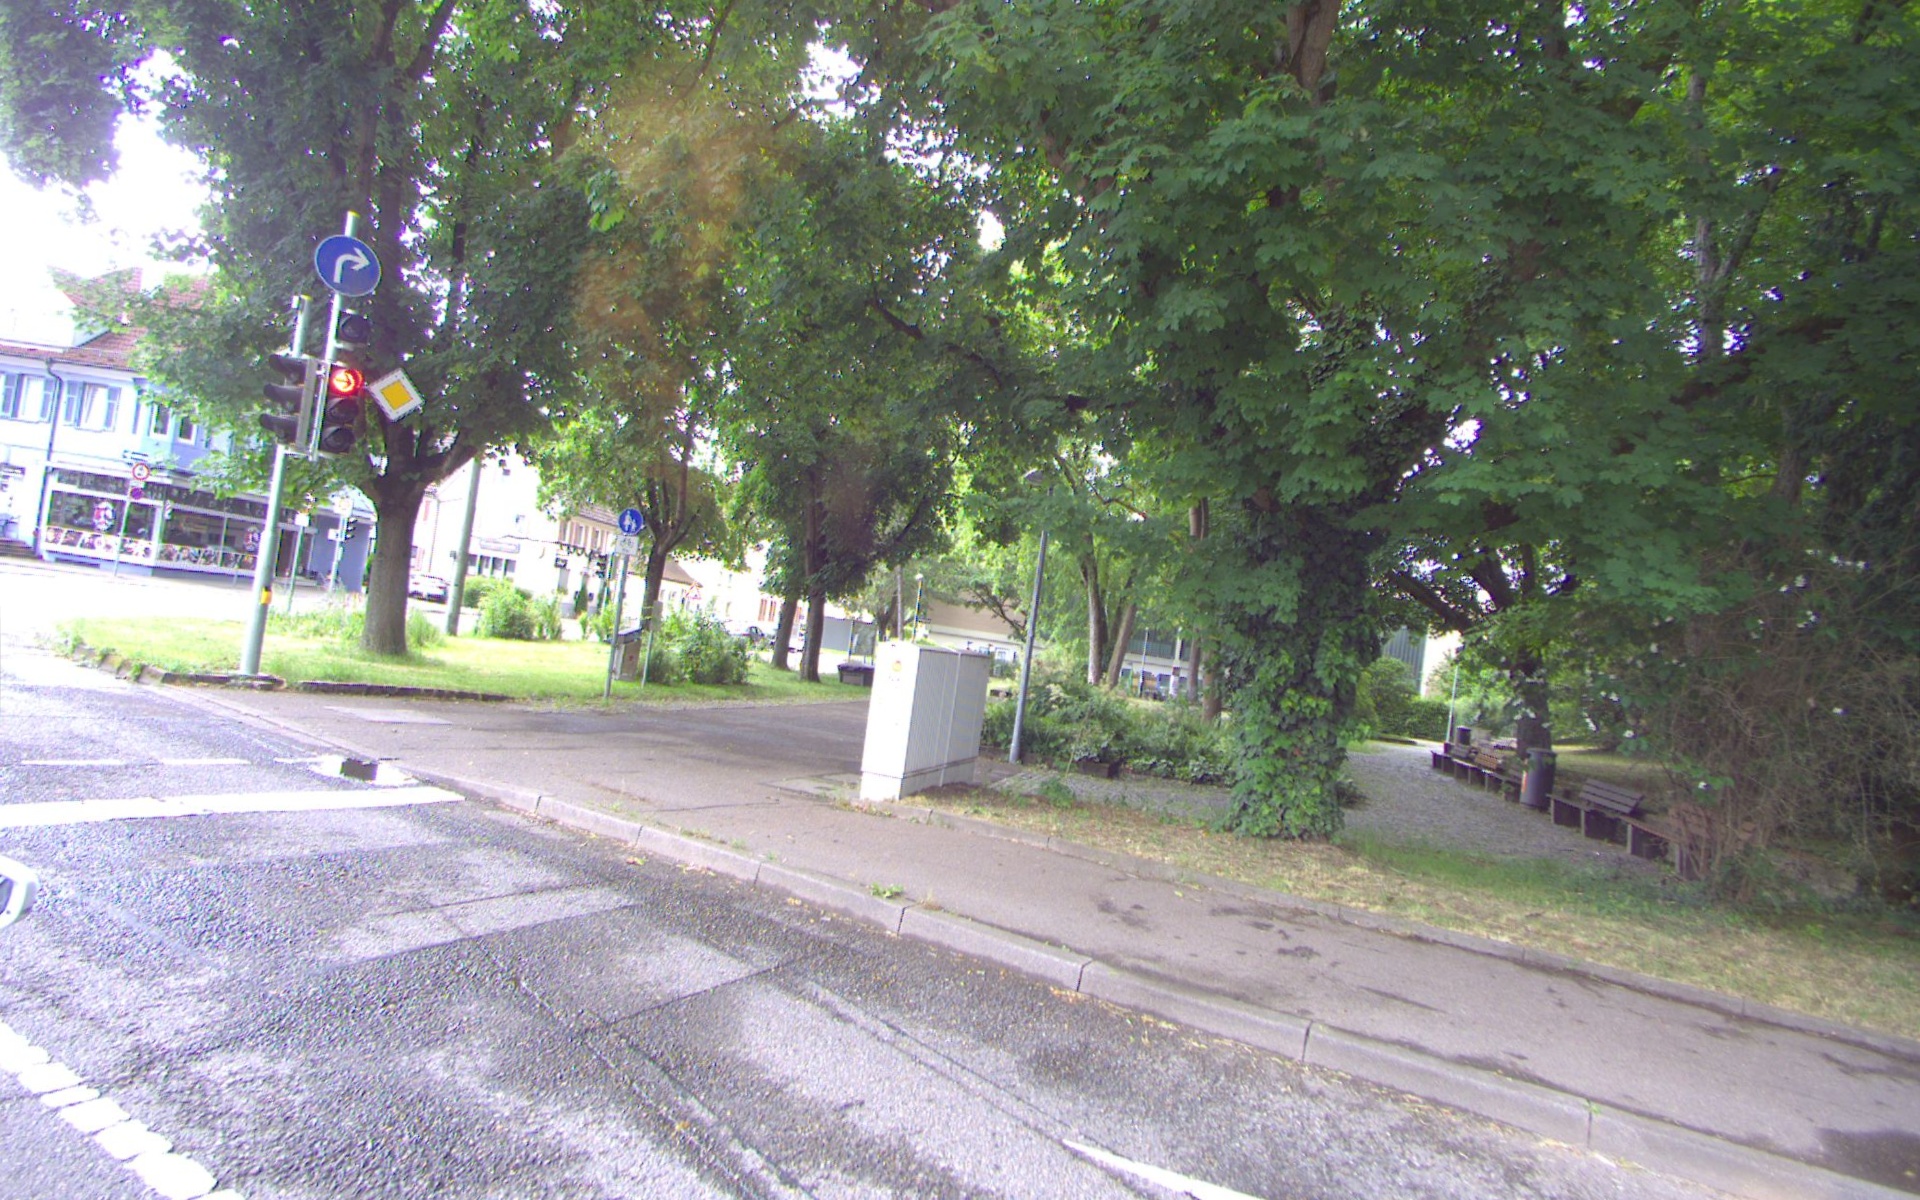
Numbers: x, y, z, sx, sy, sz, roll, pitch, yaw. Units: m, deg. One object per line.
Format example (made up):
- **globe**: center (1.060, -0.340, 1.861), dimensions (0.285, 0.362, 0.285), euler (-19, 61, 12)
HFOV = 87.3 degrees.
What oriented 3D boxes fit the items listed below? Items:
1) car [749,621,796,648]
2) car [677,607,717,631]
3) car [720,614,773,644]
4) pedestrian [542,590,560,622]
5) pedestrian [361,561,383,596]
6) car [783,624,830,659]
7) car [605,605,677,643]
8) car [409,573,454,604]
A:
- **car**: center (-11.167, 2.071, 60.106), dimensions (1.530, 1.336, 3.514), euler (7, -2, 8)
- **car**: center (-19.371, 1.443, 74.248), dimensions (1.528, 1.436, 4.005), euler (7, -2, 4)
- **car**: center (-11.568, 1.597, 54.821), dimensions (1.530, 1.336, 3.514), euler (7, -2, 9)
- **pedestrian**: center (-22.093, 0.339, 54.344), dimensions (0.601, 1.668, 0.609), euler (7, -1, -8)
- **pedestrian**: center (-27.265, -1.003, 46.673), dimensions (0.576, 1.535, 0.460), euler (7, -1, 11)
- **car**: center (-10.056, 2.759, 66.174), dimensions (1.750, 2.037, 4.005), euler (7, -2, 7)
- **car**: center (-14.009, 1.090, 44.356), dimensions (1.530, 1.336, 3.514), euler (7, -2, 9)
- **car**: center (-27.870, -0.604, 53.143), dimensions (1.479, 1.384, 3.166), euler (8, -2, -19)
